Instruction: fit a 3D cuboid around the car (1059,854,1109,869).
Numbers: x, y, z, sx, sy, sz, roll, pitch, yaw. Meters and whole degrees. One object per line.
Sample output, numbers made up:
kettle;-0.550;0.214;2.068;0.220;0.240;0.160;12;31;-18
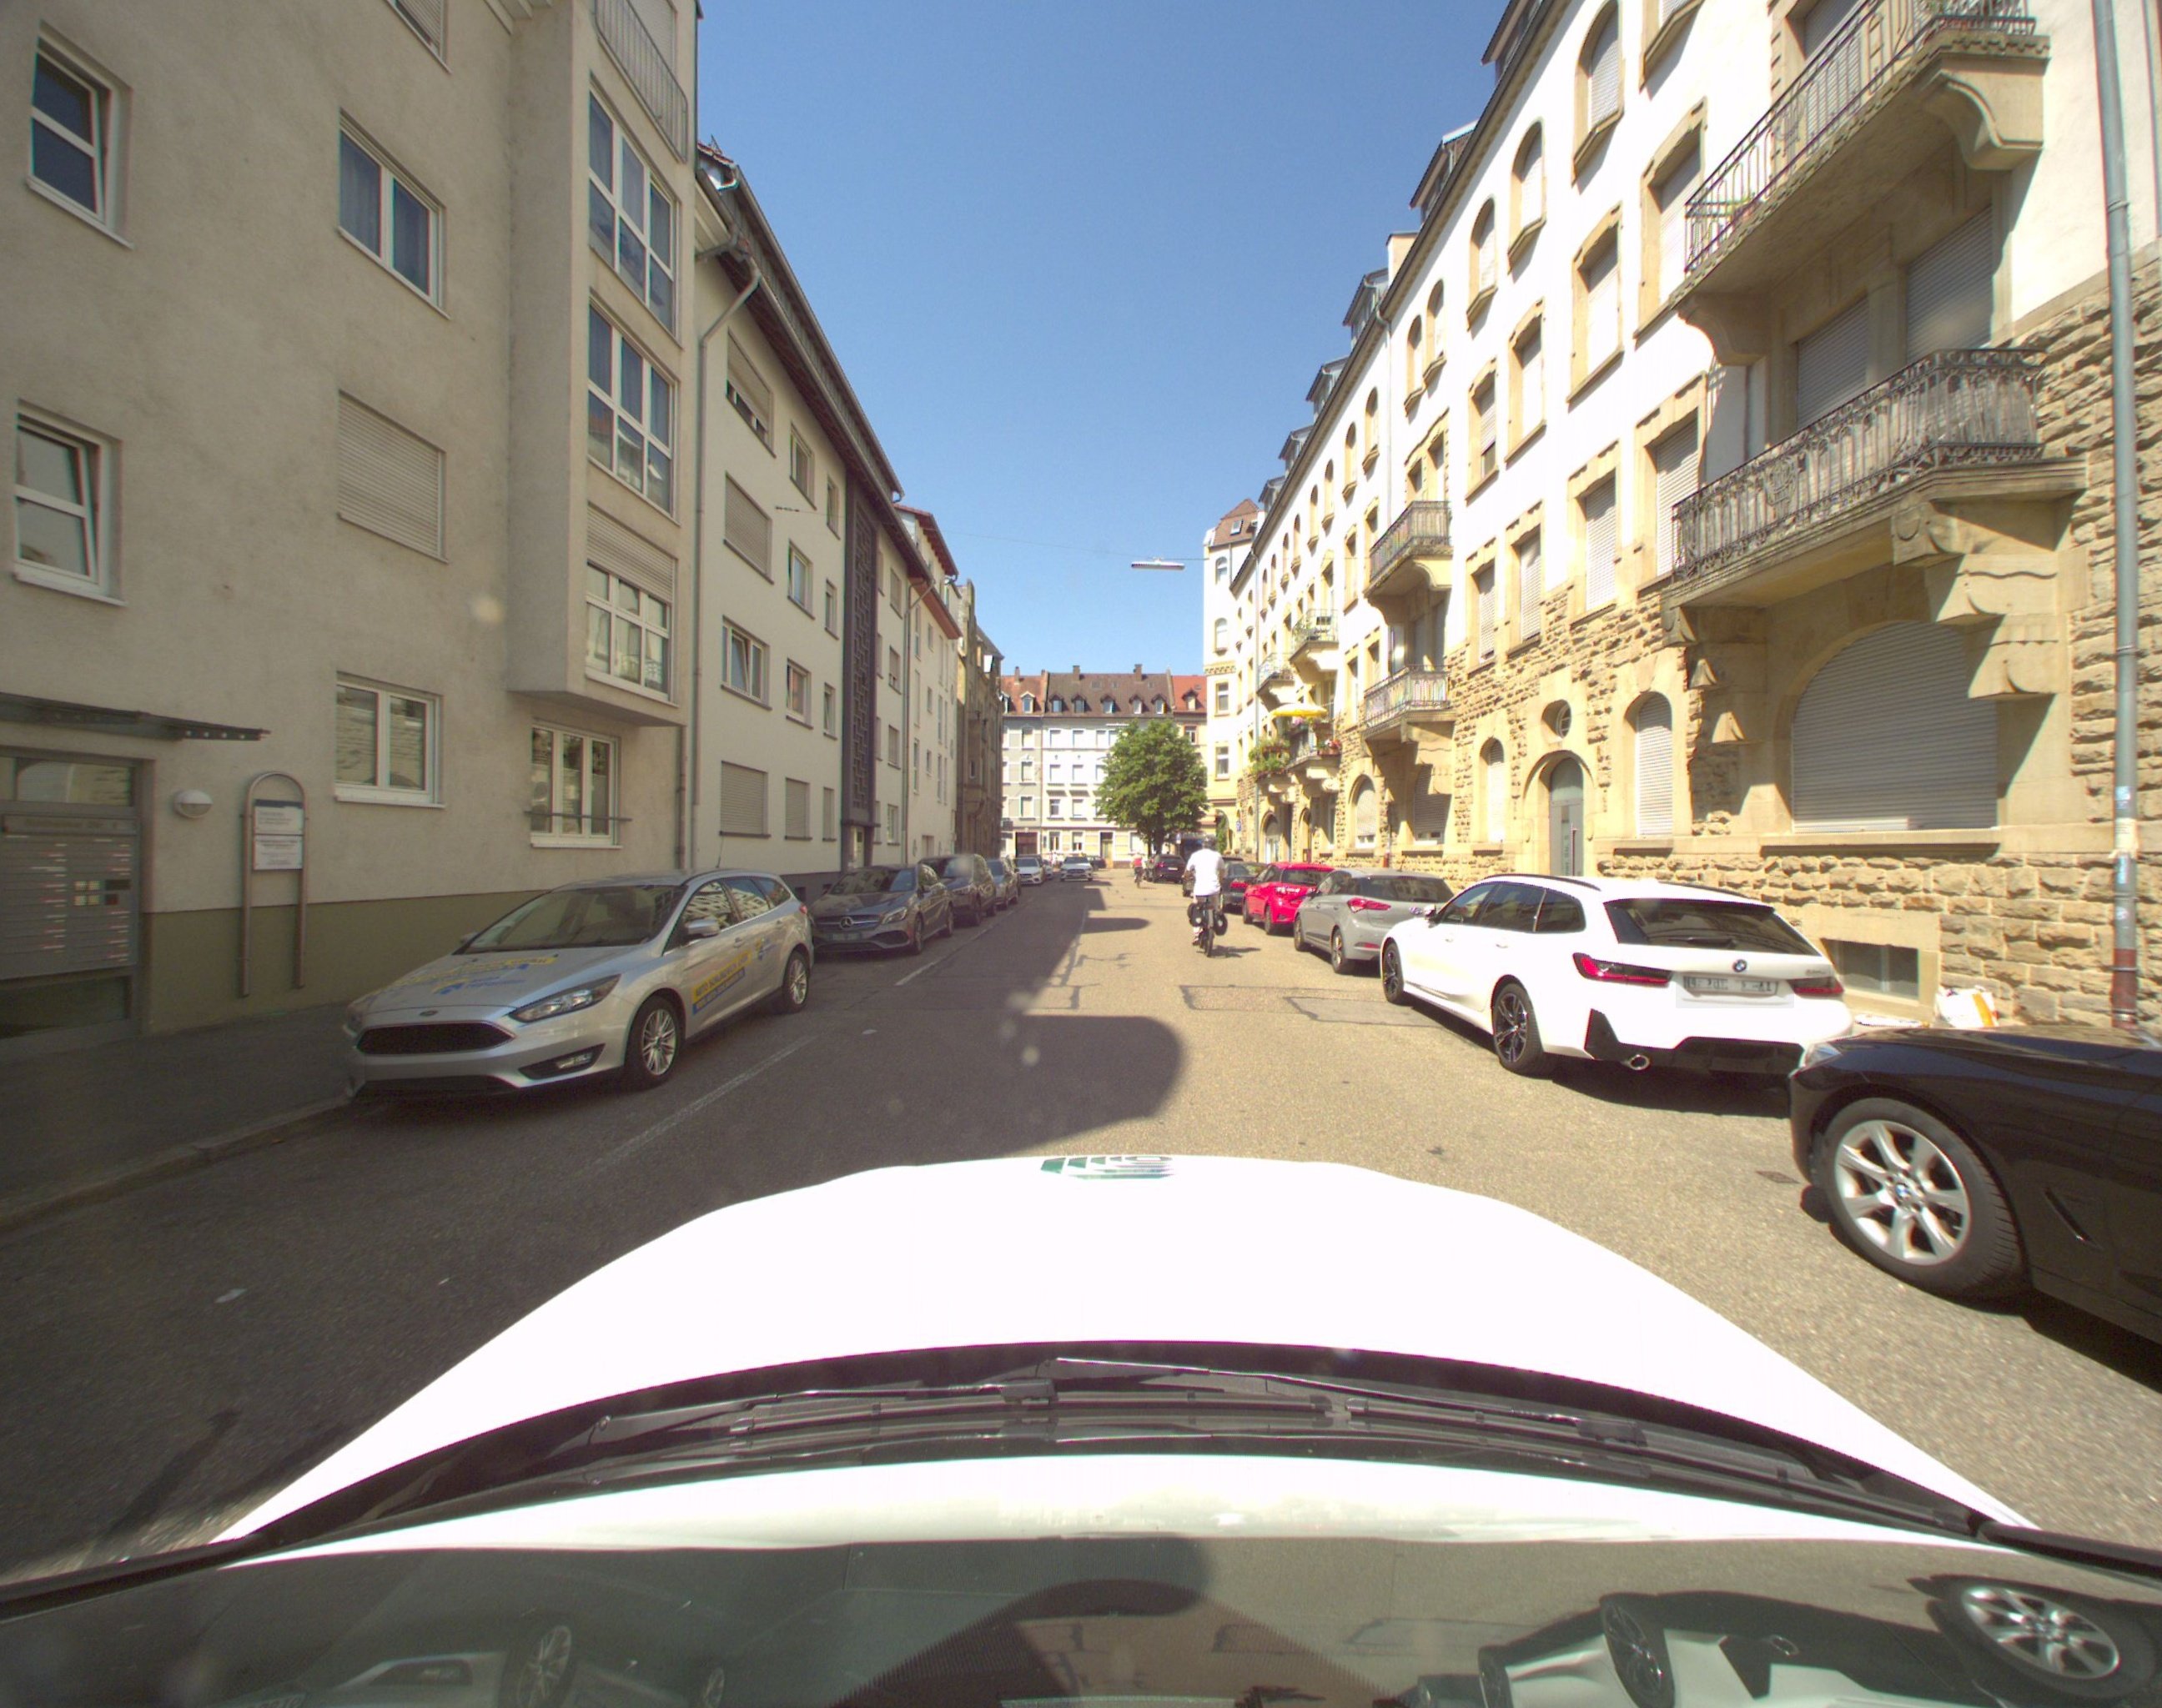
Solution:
car;0.303;0.723;79.469;4.843;1.437;2.000;0;-1;0

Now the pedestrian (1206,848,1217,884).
pedestrian;6.841;0.650;42.818;0.516;1.869;0.654;0;-1;3

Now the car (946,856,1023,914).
car;-2.790;0.853;24.477;1.651;1.518;4.671;-2;-1;0

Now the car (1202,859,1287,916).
car;4.567;0.889;23.277;1.508;1.398;3.970;4;0;-1

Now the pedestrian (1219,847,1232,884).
pedestrian;7.562;0.599;42.621;0.597;1.880;0.883;0;-1;3

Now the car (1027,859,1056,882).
car;-2.472;1.029;51.922;1.697;1.352;4.512;-2;-1;-2

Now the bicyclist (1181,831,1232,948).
bicyclist;1.950;0.547;12.699;0.668;1.760;0.609;2;-1;1

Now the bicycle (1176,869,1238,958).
bicycle;1.936;0.871;12.806;0.649;1.228;2.442;2;0;2

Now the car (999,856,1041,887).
car;-3.076;0.852;41.930;1.770;1.460;4.279;-2;-1;0

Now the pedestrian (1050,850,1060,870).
pedestrian;-2.572;0.584;80.313;0.844;1.889;0.938;-1;-1;11

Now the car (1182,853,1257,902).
car;4.838;0.784;29.082;1.827;1.567;4.604;2;0;0

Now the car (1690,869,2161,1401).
car;3.868;0.790;1.734;1.730;1.458;4.669;0;0;1

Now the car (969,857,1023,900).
car;-3.156;0.880;30.801;1.562;1.491;3.893;-2;-1;0

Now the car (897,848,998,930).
car;-2.979;0.748;18.888;1.598;1.644;3.977;-2;-1;0

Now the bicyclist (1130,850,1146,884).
bicyclist;2.571;0.589;36.648;0.668;1.533;0.609;0;-1;1

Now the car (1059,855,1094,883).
car;-0.233;0.820;46.864;1.835;1.461;4.362;-2;-1;0

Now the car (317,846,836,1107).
car;-3.712;0.757;7.104;1.725;1.495;4.348;-3;-1;0

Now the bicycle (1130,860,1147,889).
bicycle;2.574;0.898;36.489;0.649;1.209;2.442;2;0;2

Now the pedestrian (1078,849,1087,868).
pedestrian;0.119;0.454;78.236;0.724;1.853;0.683;0;-1;-9

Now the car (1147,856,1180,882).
car;5.183;0.906;51.491;1.657;1.540;4.178;2;0;1

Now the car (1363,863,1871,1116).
car;4.063;0.847;7.274;1.709;1.452;4.601;2;0;4

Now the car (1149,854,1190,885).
car;4.932;0.857;45.836;1.731;1.597;4.346;2;0;-1

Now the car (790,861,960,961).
car;-3.345;0.856;14.124;1.759;1.393;4.348;-2;-1;0

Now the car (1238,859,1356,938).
car;4.534;0.875;17.647;1.565;1.452;3.843;2;0;1

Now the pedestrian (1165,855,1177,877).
pedestrian;7.001;0.911;63.322;0.854;1.672;0.774;0;-1;1

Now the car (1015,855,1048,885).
car;-2.798;0.892;46.875;1.667;1.583;4.050;-2;-1;-1

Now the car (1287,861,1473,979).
car;4.355;0.872;12.467;1.583;1.452;3.859;2;0;3
